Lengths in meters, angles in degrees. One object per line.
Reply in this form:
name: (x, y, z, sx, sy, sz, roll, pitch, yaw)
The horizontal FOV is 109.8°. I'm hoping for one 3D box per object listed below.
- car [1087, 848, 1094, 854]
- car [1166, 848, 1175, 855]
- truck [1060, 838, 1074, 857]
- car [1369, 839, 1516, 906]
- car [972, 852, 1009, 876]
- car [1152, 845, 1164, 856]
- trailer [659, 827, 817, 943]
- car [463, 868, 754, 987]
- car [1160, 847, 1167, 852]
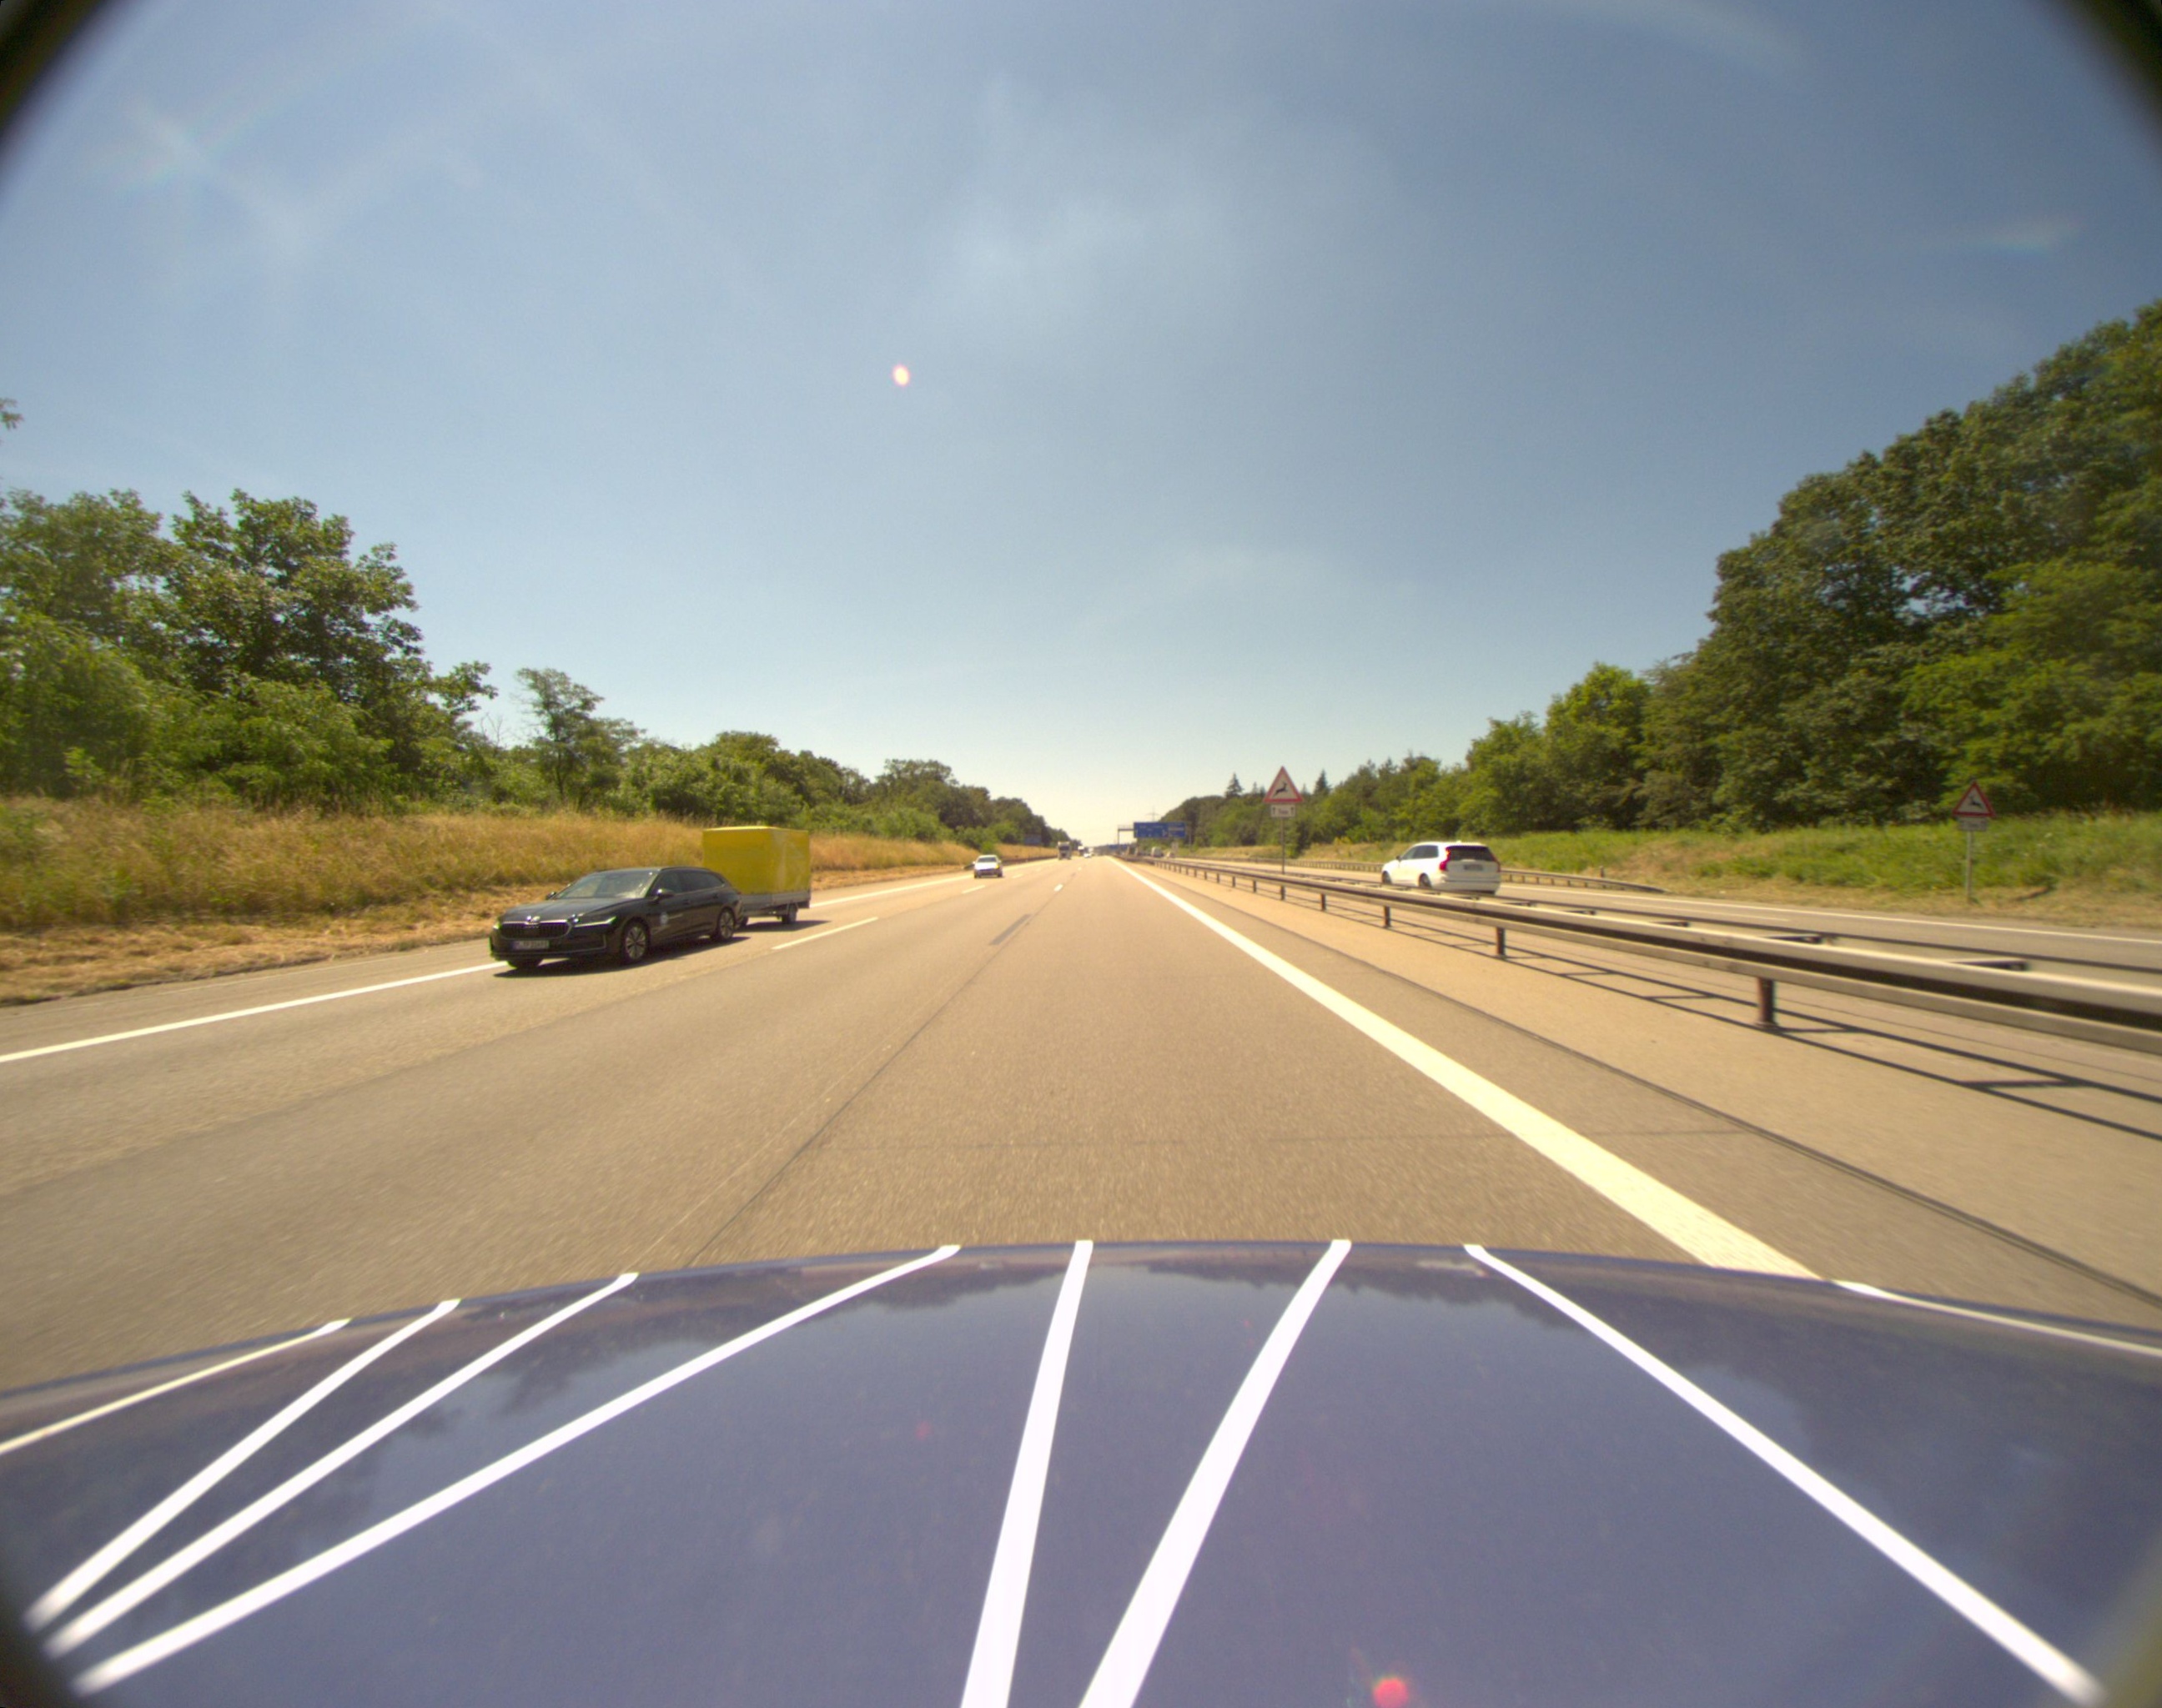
car: (2.577, -0.877, 198.651, 1.796, 1.412, 4.000, -2, 0, 0)
car: (22.689, -0.609, 192.194, 1.706, 1.651, 5.116, 2, 0, 1)
truck: (-2.975, -1.415, 161.815, 2.605, 3.811, 5.969, -2, 0, 1)
car: (10.988, 0.501, 23.666, 1.958, 1.782, 5.562, 2, 0, 1)
car: (-5.948, 0.639, 50.218, 1.749, 1.457, 3.980, -2, 0, 2)
car: (18.644, -0.867, 184.288, 2.170, 2.609, 7.543, 2, 0, 1)
trailer: (-7.542, 0.604, 17.140, 1.707, 2.276, 3.839, -2, 1, 0)
car: (-7.491, 1.046, 12.785, 1.826, 1.447, 4.788, -2, 1, 0)
car: (24.504, -1.249, 225.185, 1.706, 1.536, 4.535, 2, 0, 1)
